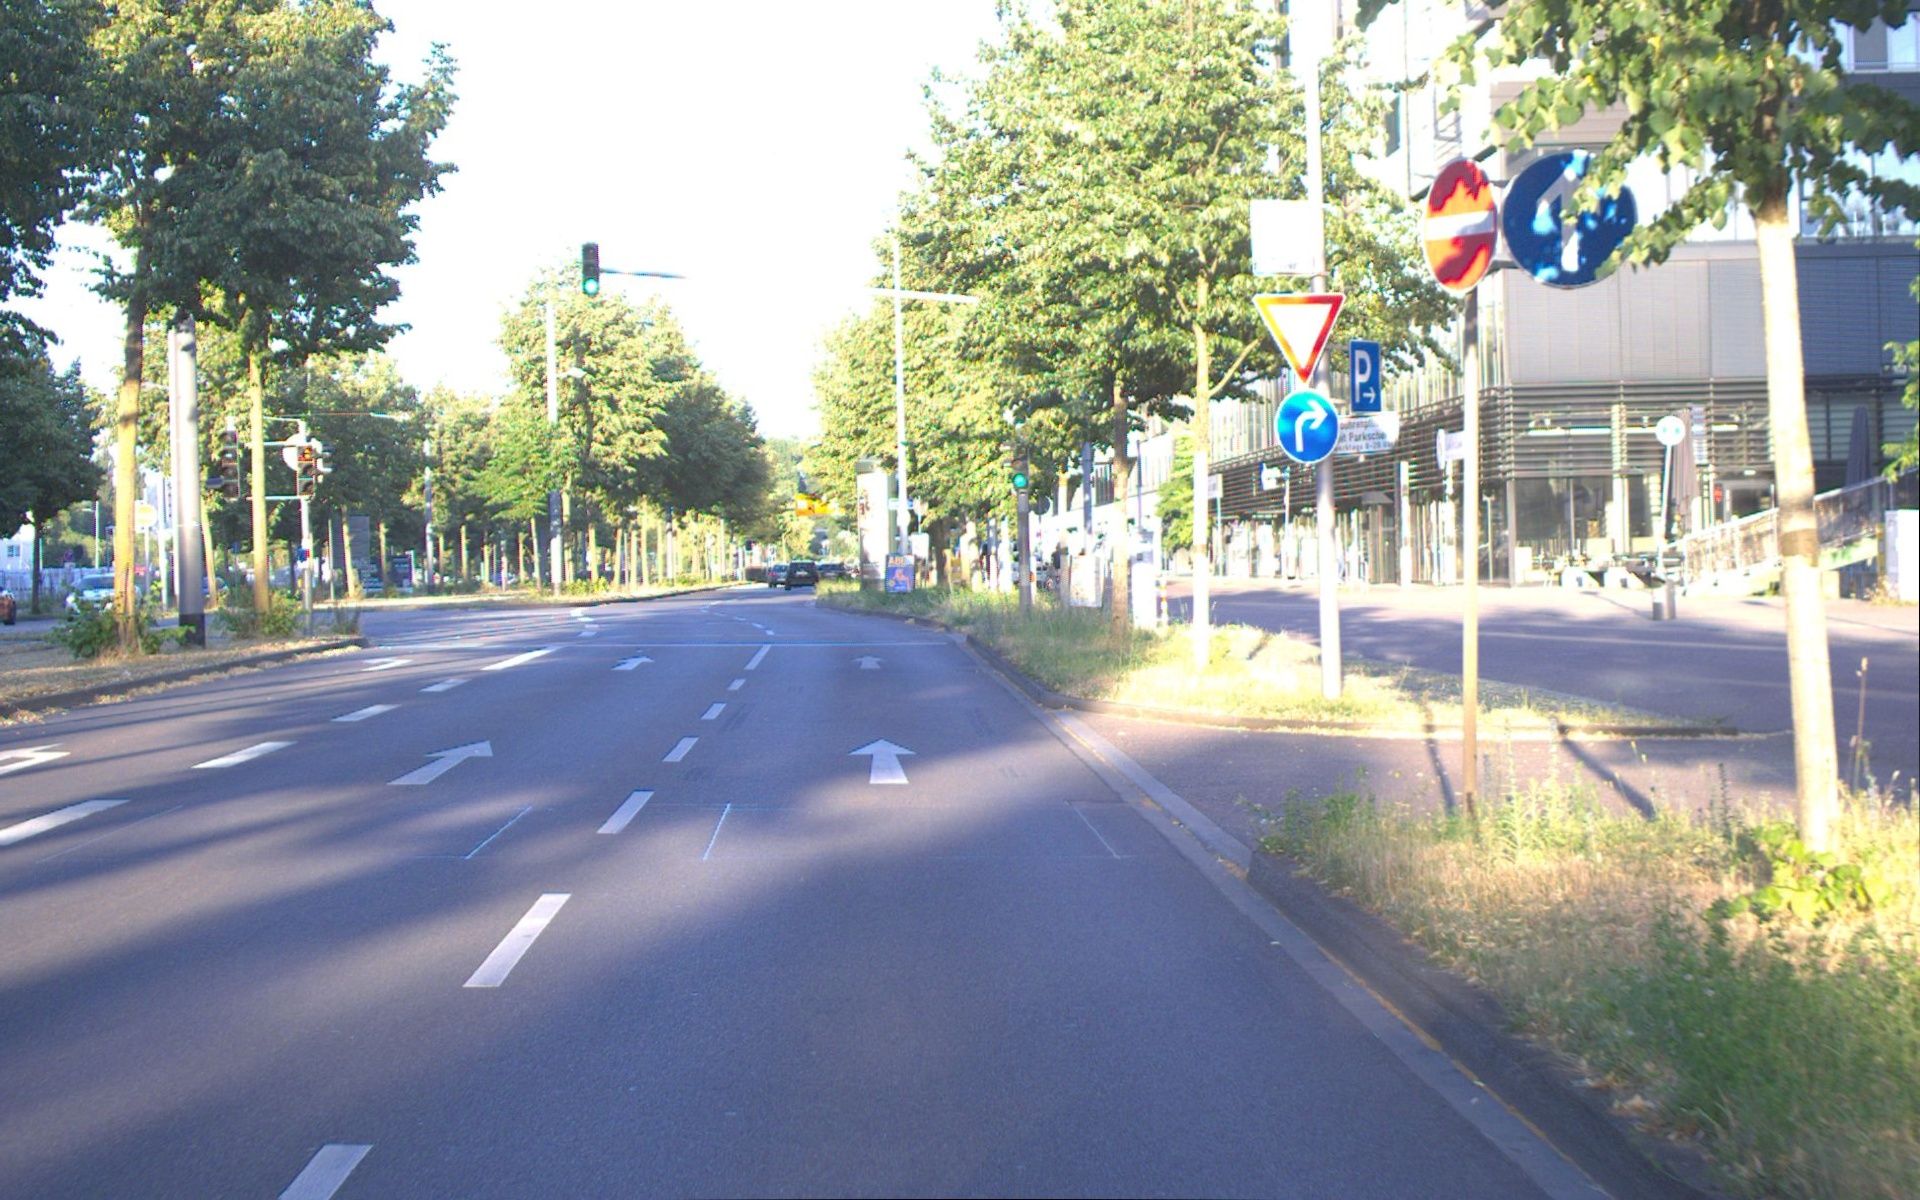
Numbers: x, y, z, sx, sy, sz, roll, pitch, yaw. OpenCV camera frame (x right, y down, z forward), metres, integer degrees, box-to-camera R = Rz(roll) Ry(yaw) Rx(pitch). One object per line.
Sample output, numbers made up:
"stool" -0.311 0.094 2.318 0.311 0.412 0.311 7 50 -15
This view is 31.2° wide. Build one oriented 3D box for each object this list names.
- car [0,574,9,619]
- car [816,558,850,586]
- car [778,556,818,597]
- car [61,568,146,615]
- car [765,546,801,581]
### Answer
"car" -29.064 -0.068 100.246 1.656 1.327 4.528 -1 1 -3
"car" -7.451 -1.640 201.959 1.872 1.568 3.677 -1 1 0
"car" -8.395 -1.216 178.436 1.993 2.007 4.001 -1 1 -3
"car" -25.762 -0.272 103.497 1.786 1.327 3.672 -2 1 -3
"car" -10.583 -2.224 206.270 2.087 2.007 4.001 -1 1 -3
